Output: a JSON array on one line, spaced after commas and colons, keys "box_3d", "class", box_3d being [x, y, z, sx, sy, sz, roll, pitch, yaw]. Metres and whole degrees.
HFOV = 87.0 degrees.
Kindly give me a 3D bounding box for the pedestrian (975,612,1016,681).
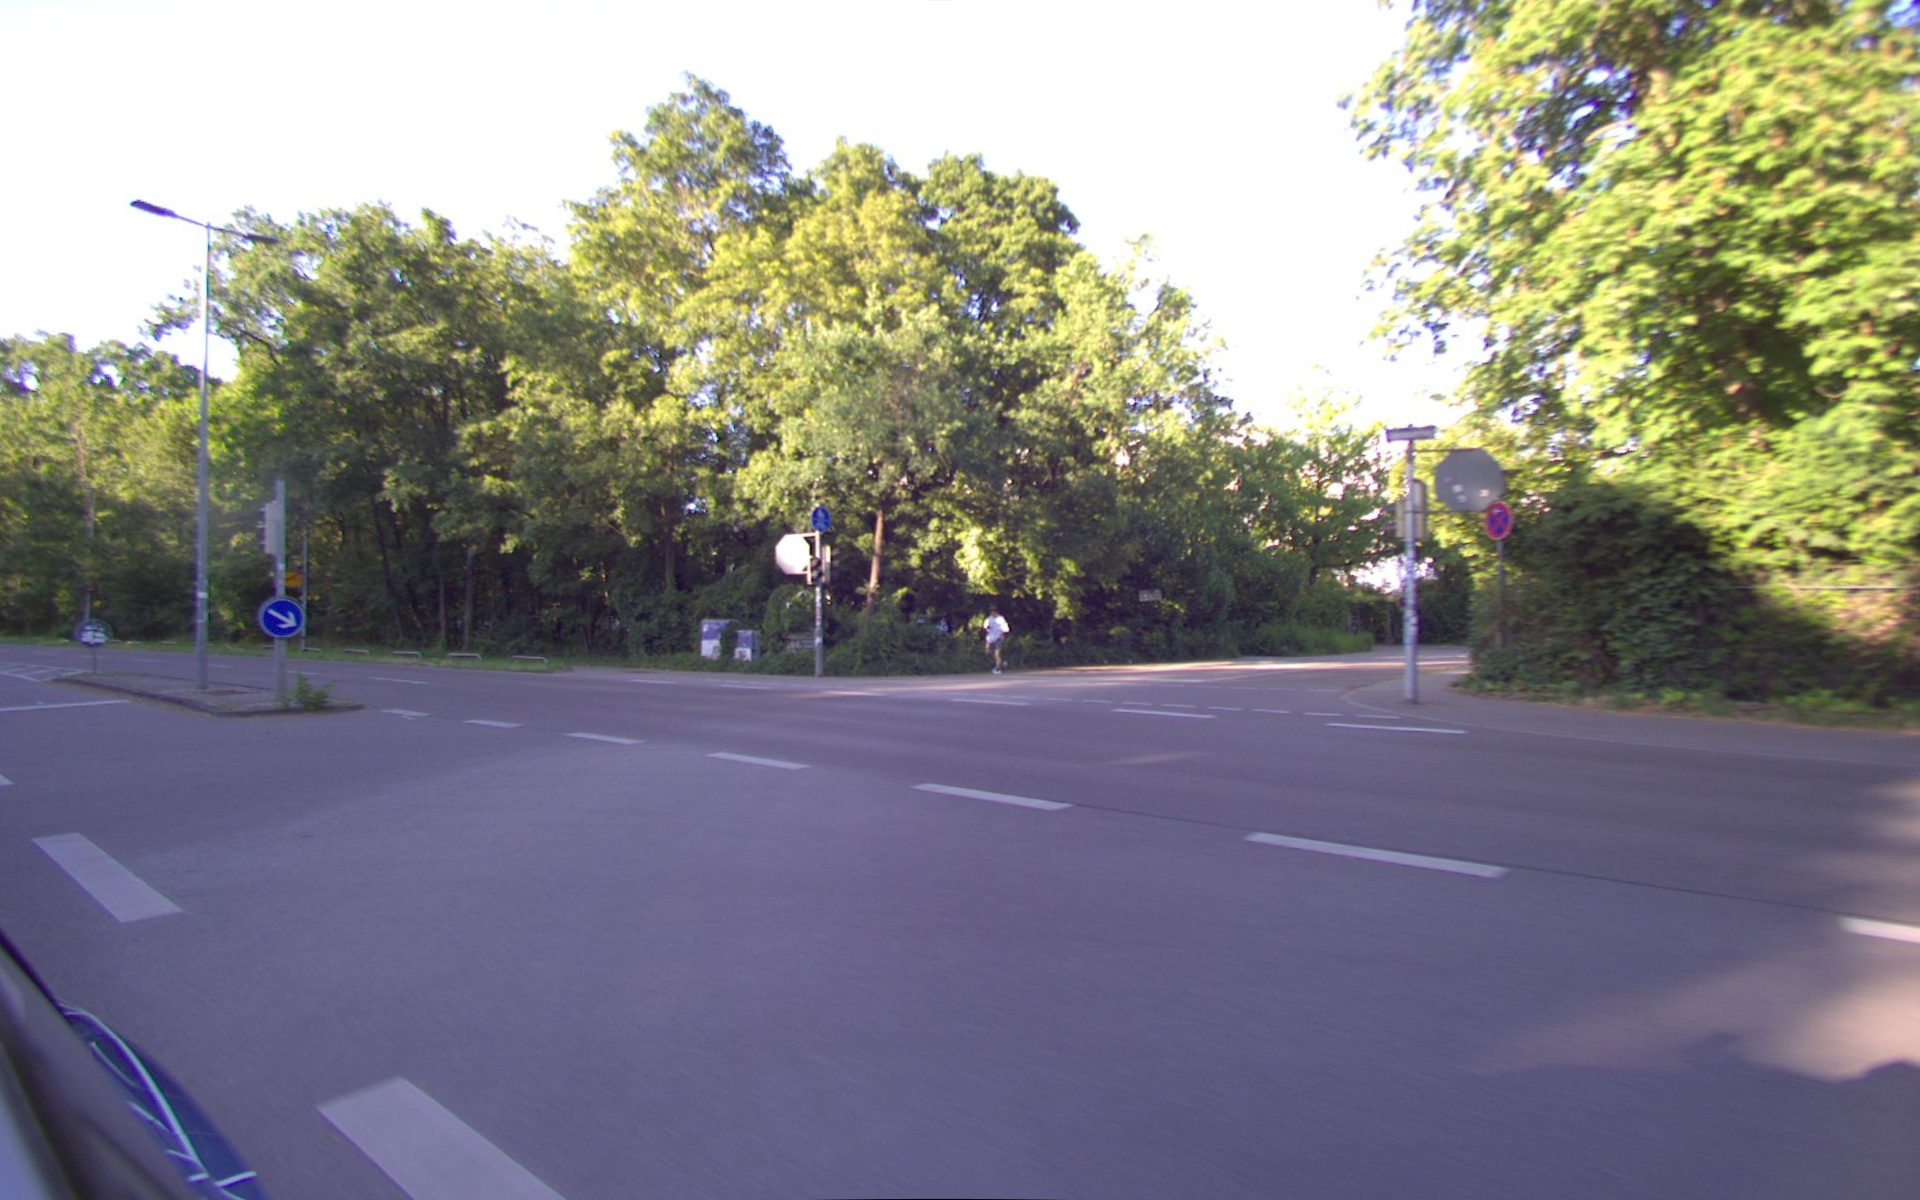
[{"box_3d": [0.900, 1.169, 25.639, 0.819, 1.724, 0.641, -1, -2, 40], "class": "pedestrian"}]
